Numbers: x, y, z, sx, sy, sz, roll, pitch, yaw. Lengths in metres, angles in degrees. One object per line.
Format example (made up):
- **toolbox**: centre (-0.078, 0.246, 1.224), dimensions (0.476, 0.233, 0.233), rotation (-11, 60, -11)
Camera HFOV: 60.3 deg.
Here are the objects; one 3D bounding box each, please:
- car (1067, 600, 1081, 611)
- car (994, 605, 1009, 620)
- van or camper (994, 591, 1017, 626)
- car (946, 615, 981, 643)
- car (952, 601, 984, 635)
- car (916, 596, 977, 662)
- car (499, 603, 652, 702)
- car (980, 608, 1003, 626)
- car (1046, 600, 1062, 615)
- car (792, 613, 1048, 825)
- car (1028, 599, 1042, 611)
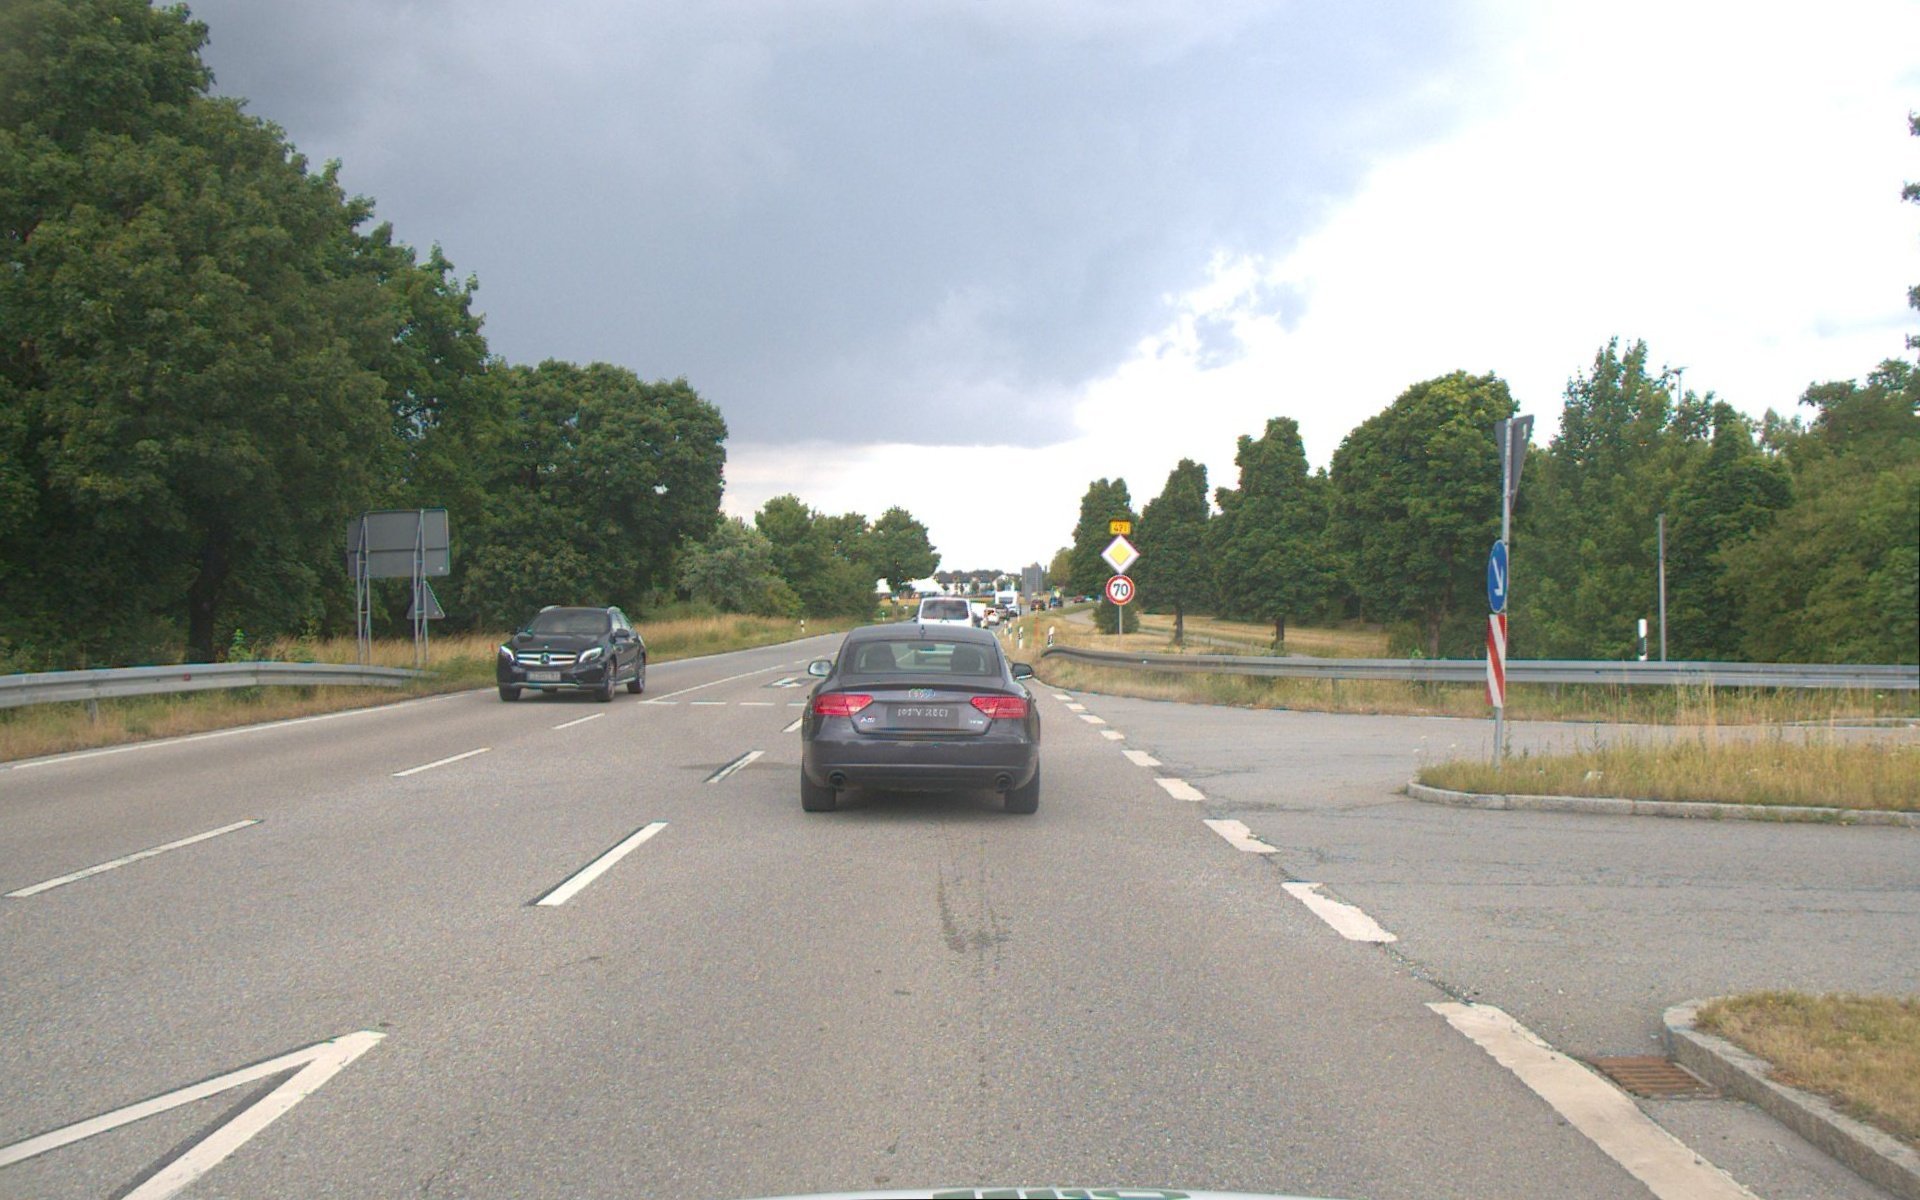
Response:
- **car**: centre (16.580, 0.842, 239.963), dimensions (1.784, 1.624, 4.000), rotation (0, 0, 0)
- **car**: centre (3.884, 1.154, 154.588), dimensions (1.231, 1.377, 3.468), rotation (0, 0, 5)
- **van or camper**: centre (4.756, 0.870, 172.746), dimensions (2.292, 3.542, 5.719), rotation (0, 0, 1)
- **car**: centre (0.219, 1.544, 89.920), dimensions (1.758, 1.490, 3.249), rotation (0, 0, 3)
- **car**: centre (0.535, 1.161, 105.819), dimensions (1.952, 2.125, 4.001), rotation (0, 0, 2)
- **car**: centre (-0.431, 0.863, 50.856), dimensions (1.801, 1.915, 3.999), rotation (1, 0, -1)
- **car**: centre (-6.369, 0.831, 27.797), dimensions (1.676, 1.549, 3.999), rotation (0, 0, -1)
- **car**: centre (2.669, 1.416, 138.728), dimensions (1.699, 1.541, 3.749), rotation (0, 0, 5)
- **car**: centre (13.664, 1.099, 240.021), dimensions (1.953, 2.049, 3.999), rotation (0, 0, -1)
- **car**: centre (-0.305, 0.842, 13.442), dimensions (1.746, 1.401, 3.999), rotation (1, 0, -1)
- **car**: centre (9.690, 0.642, 214.320), dimensions (1.683, 1.477, 4.000), rotation (1, 0, 0)
